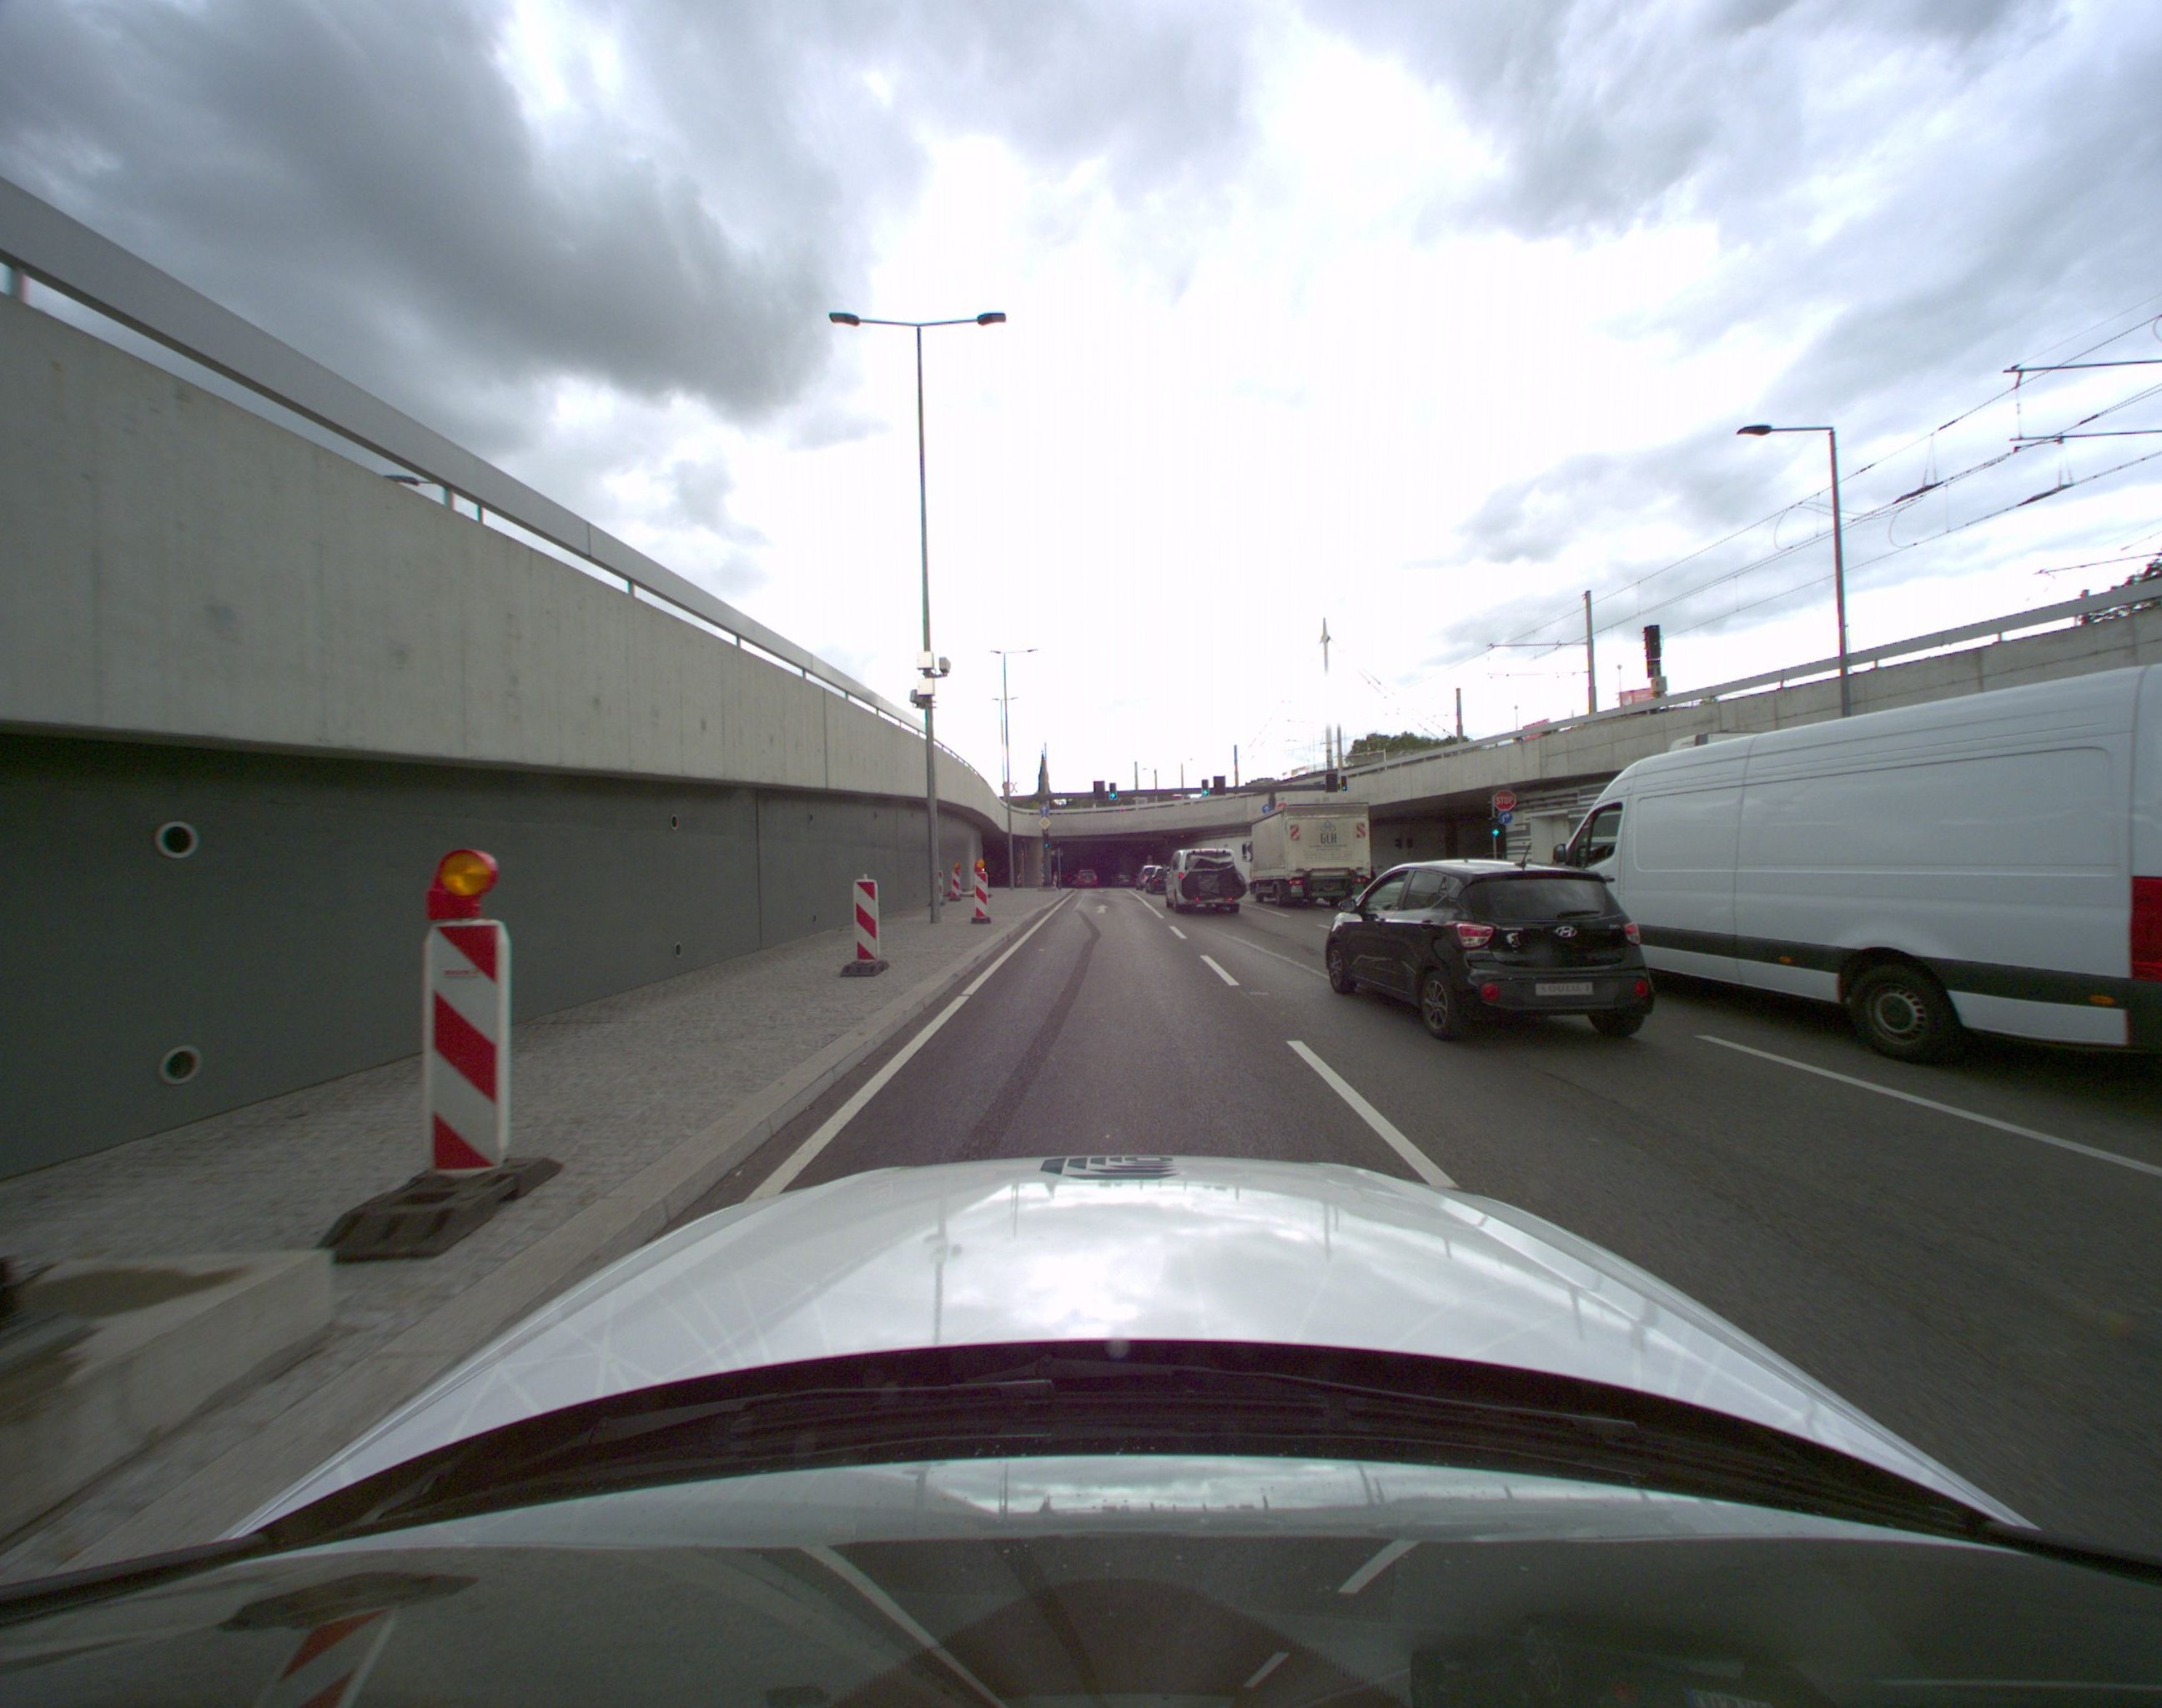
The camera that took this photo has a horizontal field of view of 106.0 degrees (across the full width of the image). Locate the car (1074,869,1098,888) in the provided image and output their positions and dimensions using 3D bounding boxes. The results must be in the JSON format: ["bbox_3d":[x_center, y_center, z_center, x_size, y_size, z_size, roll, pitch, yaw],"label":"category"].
[{"bbox_3d":[0.375,2.011,66.524,1.657,1.488,3.560,-1,-2,-5],"label":"car"}]

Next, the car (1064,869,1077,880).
[{"bbox_3d":[-1.786,3.561,140.205,1.989,1.773,3.995,-1,0,-3],"label":"car"}]

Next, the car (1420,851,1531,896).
[{"bbox_3d":[14.066,0.712,29.393,1.985,1.401,4.470,-3,-2,3],"label":"car"}]

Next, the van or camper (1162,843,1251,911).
[{"bbox_3d":[3.675,0.725,24.876,1.986,1.845,5.508,0,-2,1],"label":"van or camper"}]

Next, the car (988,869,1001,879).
[{"bbox_3d":[-12.819,2.968,120.976,1.661,1.441,4.106,-2,-1,-5],"label":"car"}]

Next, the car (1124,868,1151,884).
[{"bbox_3d":[6.095,2.386,87.952,1.989,1.676,4.495,-1,-2,-8],"label":"car"}]

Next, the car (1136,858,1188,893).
[{"bbox_3d":[4.113,1.084,41.833,1.817,1.684,3.990,0,-1,-7],"label":"car"}]

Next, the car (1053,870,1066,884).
[{"bbox_3d":[-3.395,3.646,127.922,1.988,2.014,3.997,-1,0,-2],"label":"car"}]

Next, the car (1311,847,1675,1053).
[{"bbox_3d":[3.646,0.716,8.009,1.677,1.545,3.691,0,0,-1],"label":"car"}]

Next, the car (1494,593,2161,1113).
[{"bbox_3d":[6.867,-0.017,7.897,2.068,2.773,7.327,-1,0,1],"label":"car"}]

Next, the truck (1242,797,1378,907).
[{"bbox_3d":[7.558,0.002,27.989,2.640,3.185,7.427,-2,-1,1],"label":"truck"}]

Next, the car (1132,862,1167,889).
[{"bbox_3d":[4.361,1.341,52.240,1.813,1.580,3.998,2,-1,-1],"label":"car"}]

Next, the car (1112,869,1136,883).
[{"bbox_3d":[3.861,1.992,73.753,1.661,1.247,3.560,-1,-2,-5],"label":"car"}]

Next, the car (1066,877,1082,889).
[{"bbox_3d":[-0.794,3.299,91.871,1.506,1.247,3.560,-1,-2,-5],"label":"car"}]
